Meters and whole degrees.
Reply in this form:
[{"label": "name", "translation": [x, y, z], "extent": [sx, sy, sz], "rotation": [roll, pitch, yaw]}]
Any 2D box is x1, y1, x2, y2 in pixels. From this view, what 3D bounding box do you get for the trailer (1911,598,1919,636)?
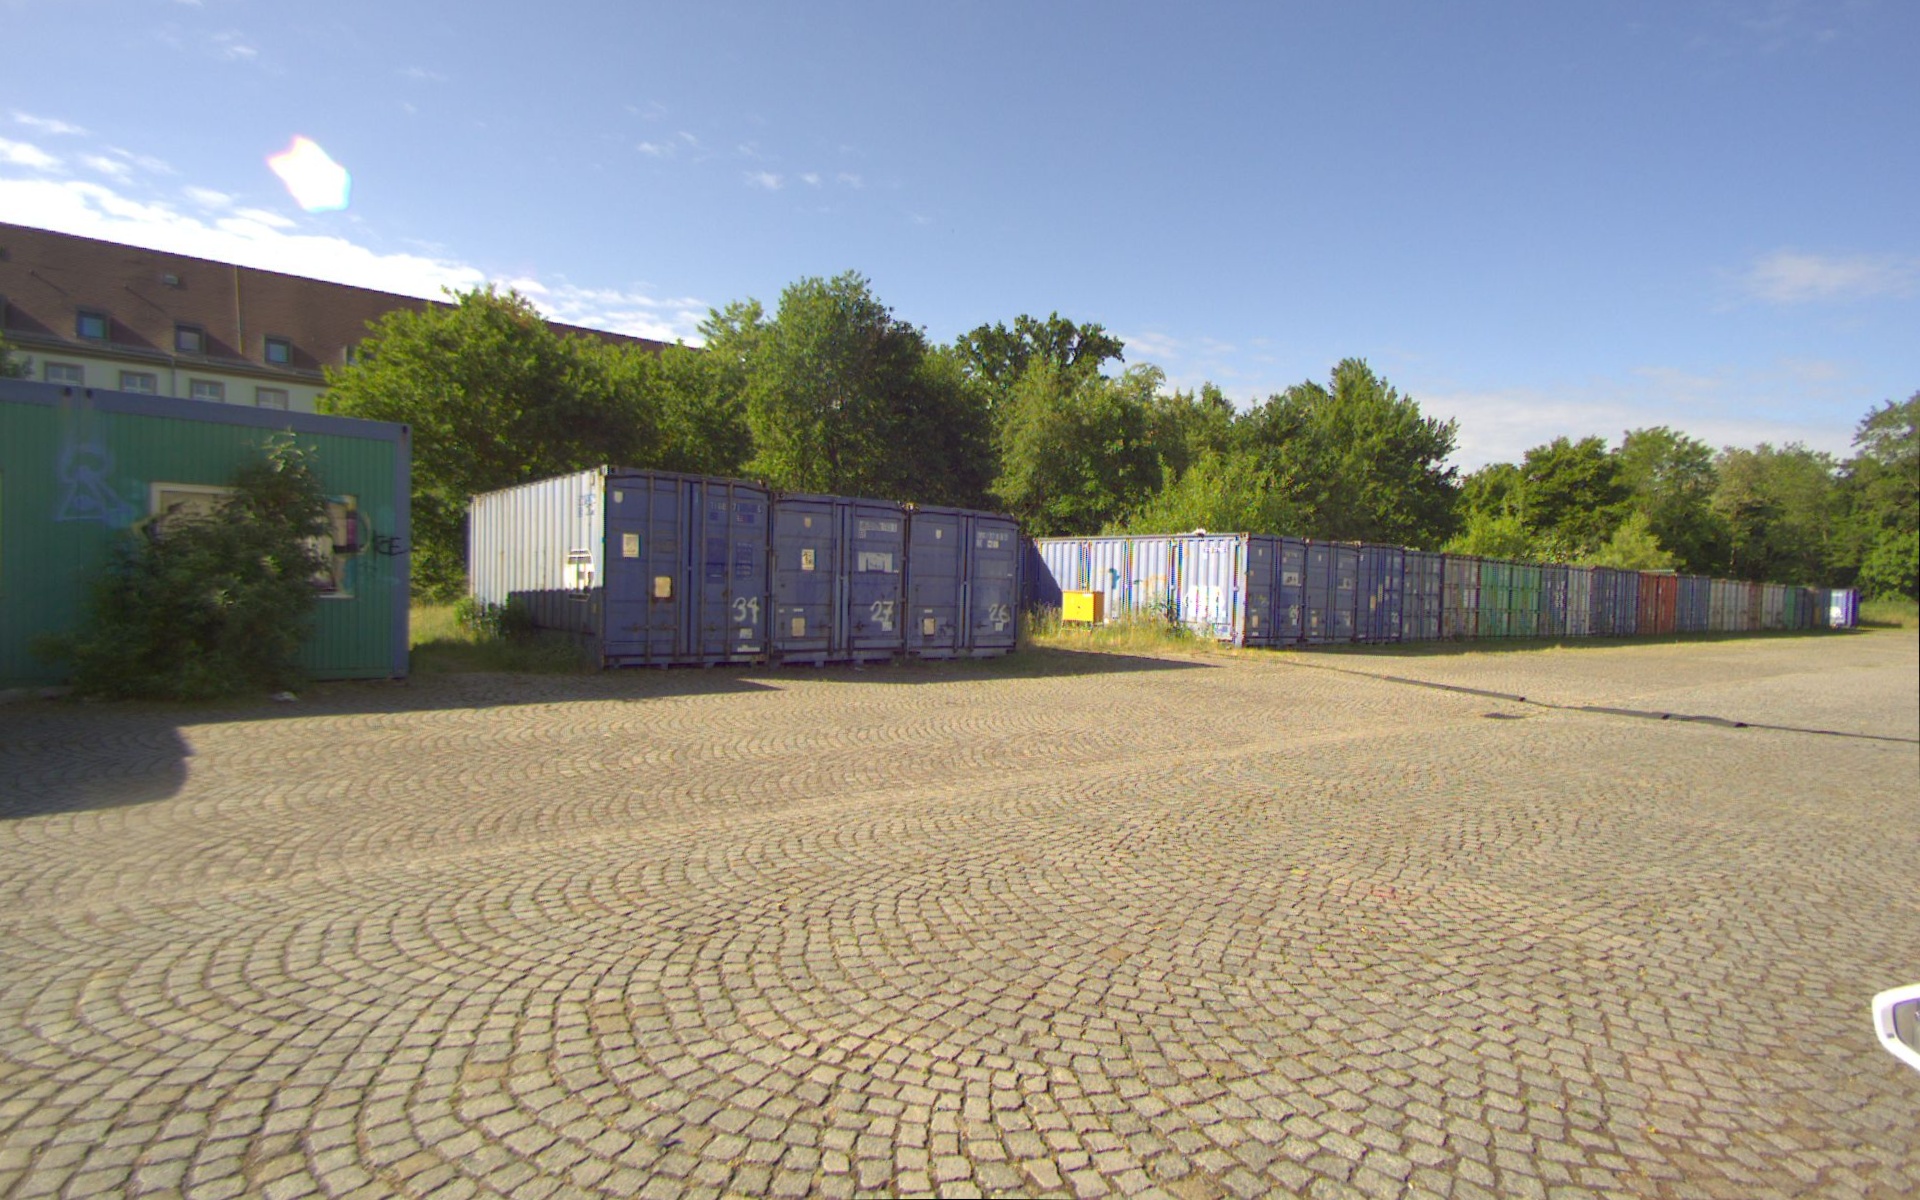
[{"label": "trailer", "translation": [54.802, 1.035, 55.578], "extent": [4.134, 2.041, 2.389], "rotation": [1, 3, -37]}]
